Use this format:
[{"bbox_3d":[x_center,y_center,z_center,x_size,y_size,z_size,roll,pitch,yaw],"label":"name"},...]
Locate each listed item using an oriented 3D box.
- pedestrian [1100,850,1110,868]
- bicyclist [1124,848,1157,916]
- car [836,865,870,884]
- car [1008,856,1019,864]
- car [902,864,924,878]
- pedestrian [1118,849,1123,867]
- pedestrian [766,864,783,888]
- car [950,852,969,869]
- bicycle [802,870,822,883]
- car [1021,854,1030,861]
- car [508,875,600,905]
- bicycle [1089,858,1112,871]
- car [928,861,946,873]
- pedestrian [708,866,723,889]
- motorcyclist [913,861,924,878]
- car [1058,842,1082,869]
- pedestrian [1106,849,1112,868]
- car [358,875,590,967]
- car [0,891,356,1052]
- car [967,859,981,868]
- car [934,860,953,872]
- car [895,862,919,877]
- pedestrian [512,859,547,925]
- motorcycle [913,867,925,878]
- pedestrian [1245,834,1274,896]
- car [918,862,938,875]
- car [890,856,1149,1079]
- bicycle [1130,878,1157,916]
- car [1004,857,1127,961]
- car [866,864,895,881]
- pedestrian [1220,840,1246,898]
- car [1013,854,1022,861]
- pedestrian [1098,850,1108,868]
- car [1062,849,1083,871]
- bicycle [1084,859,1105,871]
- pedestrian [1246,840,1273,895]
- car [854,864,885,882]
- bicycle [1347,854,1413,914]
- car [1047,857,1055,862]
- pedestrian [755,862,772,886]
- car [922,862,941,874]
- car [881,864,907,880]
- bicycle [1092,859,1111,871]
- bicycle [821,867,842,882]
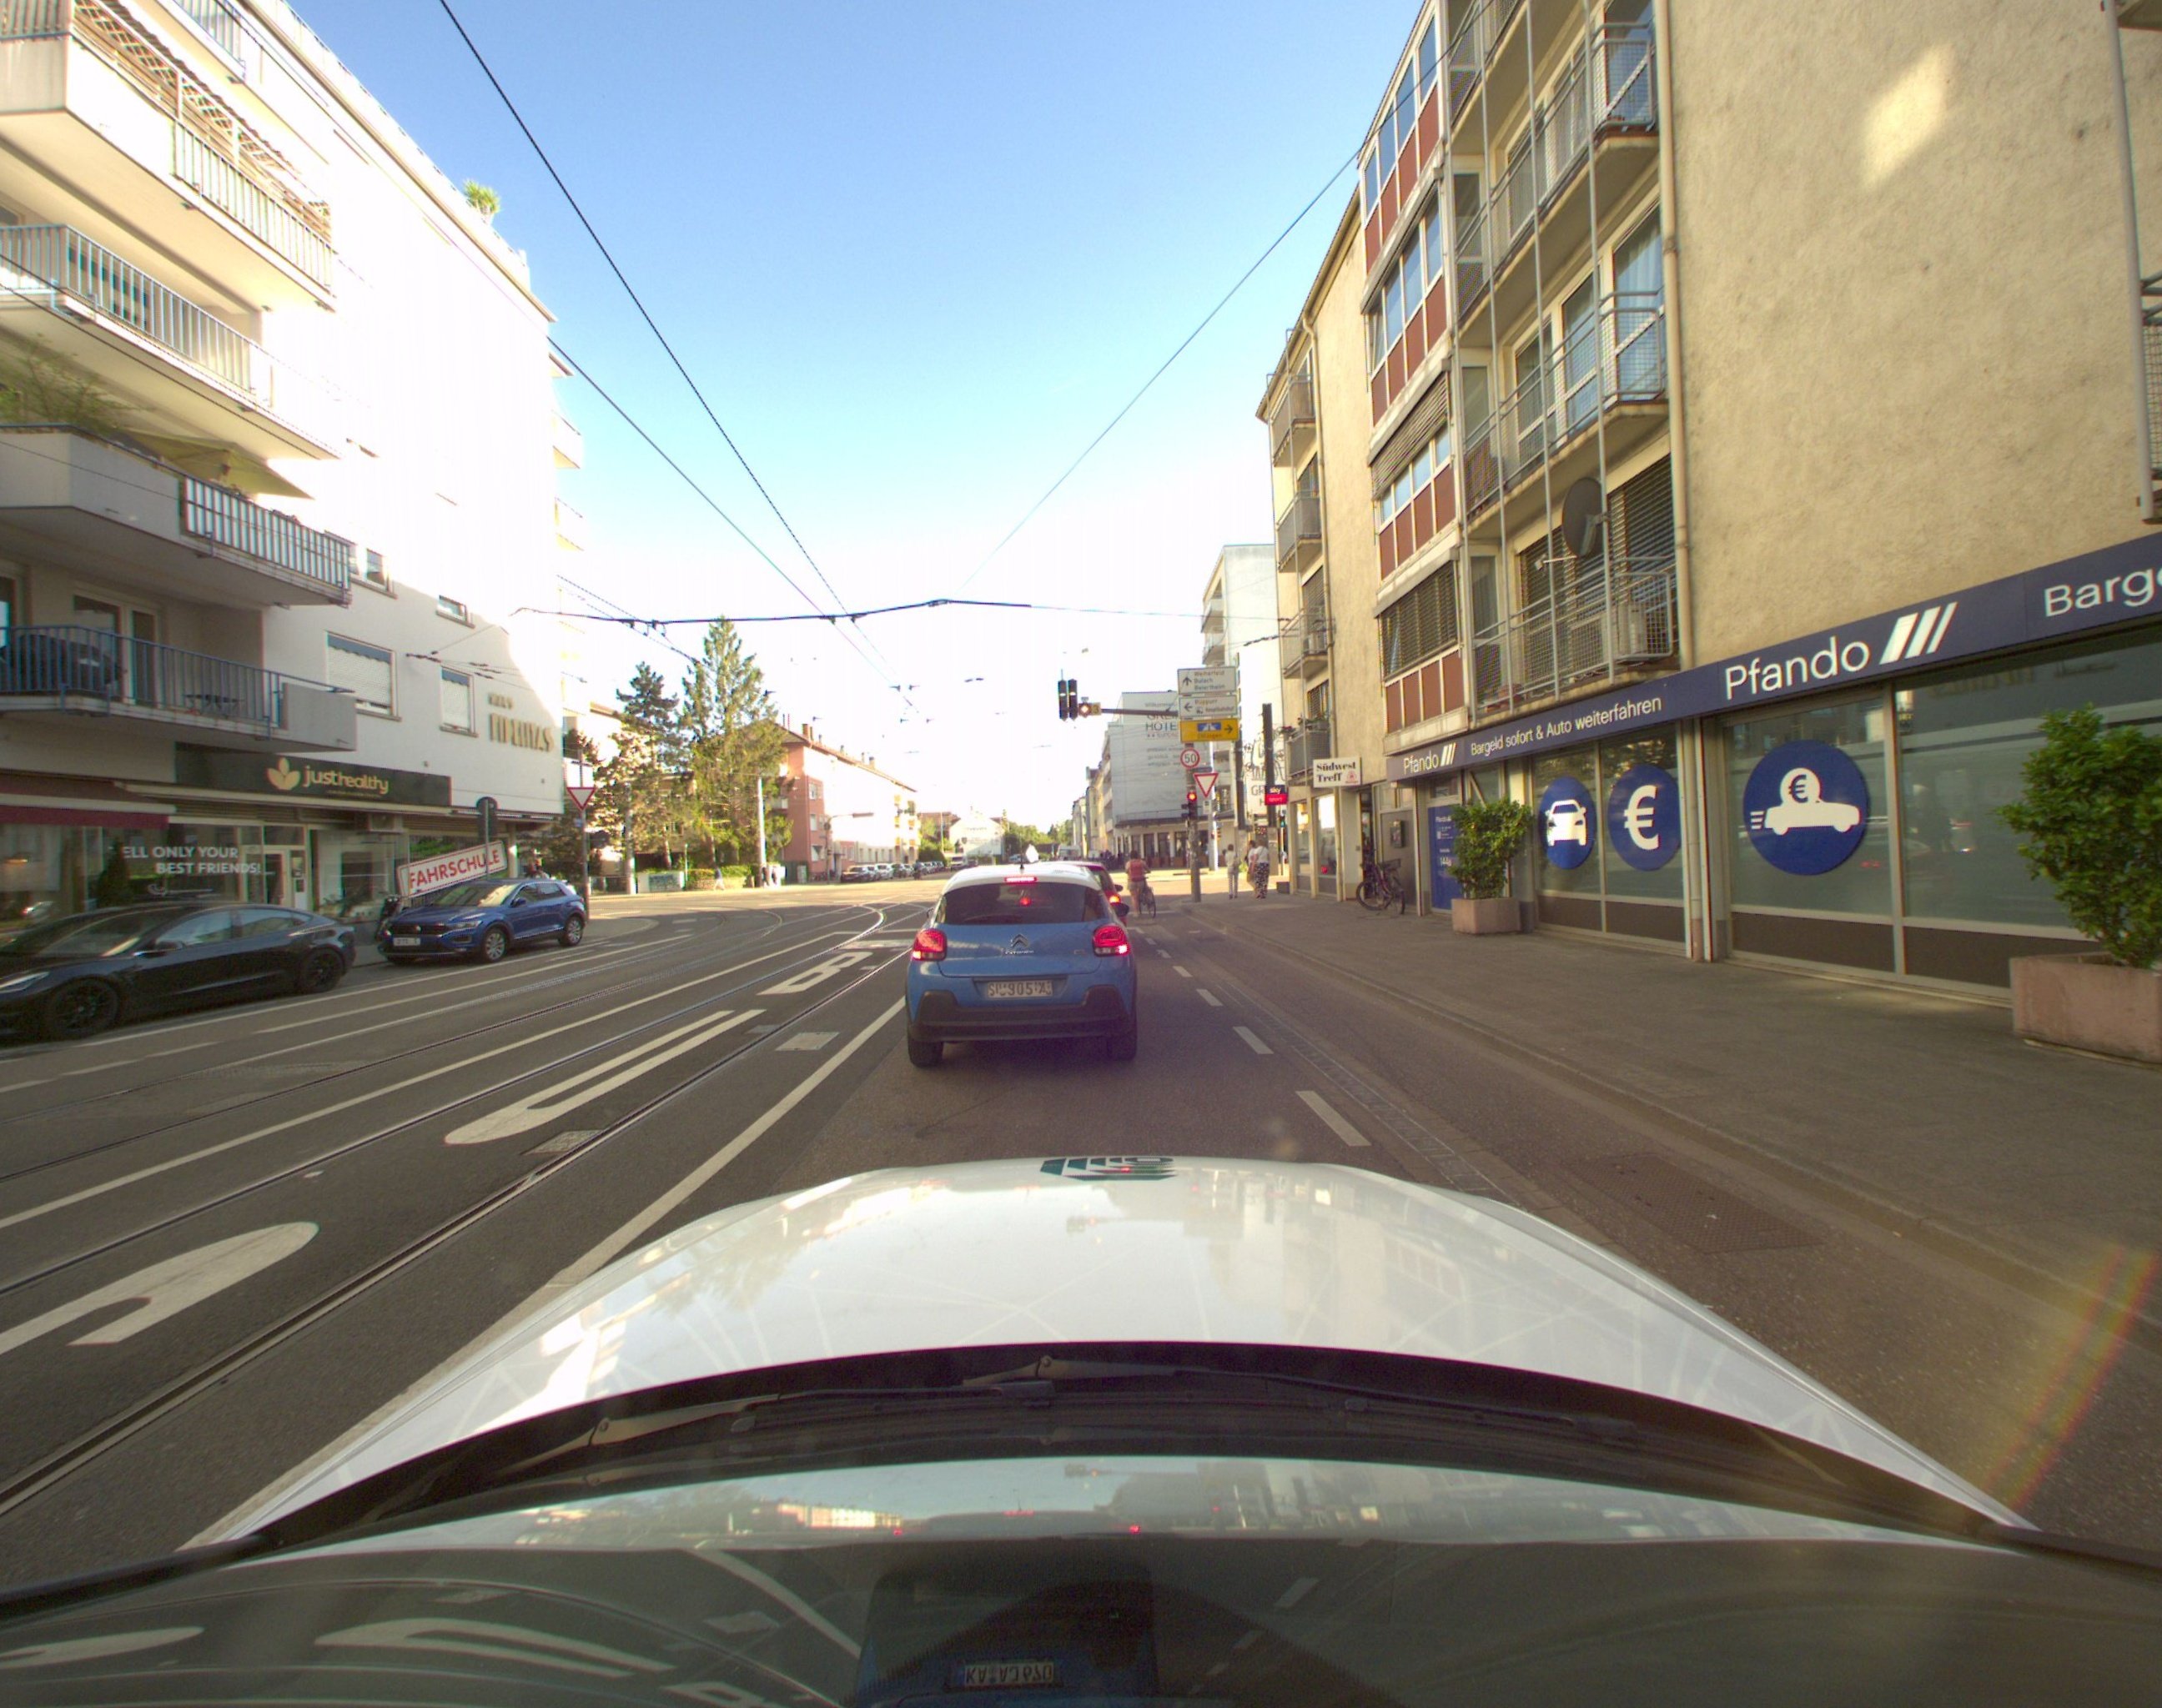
[{"bbox_3d":[2.122,0.447,72.630,0.648,1.556,0.490,-2,0,-20],"label":"pedestrian"},{"bbox_3d":[1.487,0.684,20.375,0.723,1.646,0.790,-2,0,1],"label":"bicyclist"},{"bbox_3d":[-19.424,1.765,69.445,1.907,1.433,3.995,-3,0,-4],"label":"car"},{"bbox_3d":[-14.053,1.318,169.975,2.016,1.525,3.997,-2,0,-2],"label":"car"},{"bbox_3d":[-20.210,2.056,98.326,1.906,1.497,3.997,-3,0,-2],"label":"car"},{"bbox_3d":[3.414,0.352,70.229,0.284,1.556,0.304,-2,0,-7],"label":"pedestrian"},{"bbox_3d":[-22.326,1.580,59.352,0.840,1.690,0.738,-2,0,4],"label":"pedestrian"},{"bbox_3d":[-17.869,0.939,119.937,2.201,2.251,4.673,-3,0,-2],"label":"car"},{"bbox_3d":[-22.464,1.861,68.032,0.730,0.952,2.597,-2,0,0],"label":"bicycle"},{"bbox_3d":[-14.743,0.912,216.127,1.992,1.684,3.989,-3,0,-8],"label":"car"},{"bbox_3d":[-33.156,2.246,51.345,4.390,1.574,1.848,-3,0,-12],"label":"car"},{"bbox_3d":[1.610,0.892,67.170,1.866,0.957,0.702,-3,0,3],"label":"bicycle"},{"bbox_3d":[-20.607,1.873,116.846,1.865,1.574,3.997,-2,0,-2],"label":"car"},{"bbox_3d":[-25.740,1.661,57.409,0.854,1.625,0.510,-2,0,-32],"label":"pedestrian"},{"bbox_3d":[-13.488,1.264,67.602,0.716,1.378,0.912,-2,0,2],"label":"motorcyclist"},{"bbox_3d":[-1.000,0.153,72.631,1.988,2.325,3.998,-1,0,-1],"label":"car"},{"bbox_3d":[2.411,0.376,69.860,0.490,1.556,0.383,-2,0,-2],"label":"pedestrian"},{"bbox_3d":[-11.871,1.222,16.309,1.740,1.509,3.996,-1,0,-2],"label":"car"},{"bbox_3d":[-12.015,1.317,10.410,1.694,1.509,4.309,-1,-1,-1],"label":"car"},{"bbox_3d":[-19.130,1.730,145.160,2.016,1.525,3.997,-2,0,-2],"label":"car"},{"bbox_3d":[-20.563,1.810,122.275,2.024,1.619,4.509,-3,0,-1],"label":"car"},{"bbox_3d":[-19.806,1.747,92.742,1.906,1.497,3.997,-3,0,-2],"label":"car"},{"bbox_3d":[-17.296,1.192,25.552,0.684,2.013,0.486,-2,0,1],"label":"pedestrian"},{"bbox_3d":[-13.481,1.551,67.755,0.613,0.864,1.671,-2,0,2],"label":"motorcycle"},{"bbox_3d":[4.969,0.305,22.674,0.539,1.672,0.650,-4,0,0],"label":"pedestrian"},{"bbox_3d":[-20.023,1.847,106.733,1.906,1.497,3.997,-3,0,-2],"label":"car"},{"bbox_3d":[-0.546,0.772,7.545,1.740,1.462,3.994,-1,0,-4],"label":"car"},{"bbox_3d":[1.569,1.075,20.674,0.497,0.864,1.748,-2,0,0],"label":"bicycle"},{"bbox_3d":[-0.160,0.795,13.763,1.732,1.420,4.002,-2,0,2],"label":"car"},{"bbox_3d":[-19.582,1.776,79.807,1.906,1.497,3.997,-3,0,-2],"label":"car"},{"bbox_3d":[4.524,0.431,24.221,0.539,1.672,0.624,-4,1,0],"label":"pedestrian"},{"bbox_3d":[-14.659,0.840,188.045,2.016,1.525,3.997,-3,0,-2],"label":"car"},{"bbox_3d":[1.999,0.462,74.437,0.648,1.556,0.490,-2,0,-20],"label":"pedestrian"},{"bbox_3d":[-0.719,0.463,67.704,1.727,1.750,3.212,-1,0,-1],"label":"car"},{"bbox_3d":[1.131,0.916,68.541,1.713,0.957,0.702,-3,0,3],"label":"bicycle"},{"bbox_3d":[5.156,0.378,23.539,0.539,1.507,0.611,-4,1,0],"label":"pedestrian"},{"bbox_3d":[-19.519,1.722,75.179,1.906,1.497,3.997,-3,0,-2],"label":"car"},{"bbox_3d":[5.757,0.550,15.761,0.528,1.072,1.810,-2,0,-1],"label":"bicycle"},{"bbox_3d":[-7.522,1.322,203.907,1.752,1.259,3.825,-2,0,-5],"label":"car"},{"bbox_3d":[-23.322,1.458,59.764,0.840,1.690,0.738,-2,0,4],"label":"pedestrian"},{"bbox_3d":[-20.524,1.893,111.748,1.906,1.497,3.997,-3,0,-2],"label":"car"},{"bbox_3d":[-19.806,1.881,86.599,1.906,1.497,3.997,-3,0,-2],"label":"car"},{"bbox_3d":[1.666,0.885,66.108,1.497,0.957,0.702,-3,0,3],"label":"bicycle"},{"bbox_3d":[-22.808,1.872,74.647,0.845,1.225,3.304,-2,0,0],"label":"bicycle"}]
